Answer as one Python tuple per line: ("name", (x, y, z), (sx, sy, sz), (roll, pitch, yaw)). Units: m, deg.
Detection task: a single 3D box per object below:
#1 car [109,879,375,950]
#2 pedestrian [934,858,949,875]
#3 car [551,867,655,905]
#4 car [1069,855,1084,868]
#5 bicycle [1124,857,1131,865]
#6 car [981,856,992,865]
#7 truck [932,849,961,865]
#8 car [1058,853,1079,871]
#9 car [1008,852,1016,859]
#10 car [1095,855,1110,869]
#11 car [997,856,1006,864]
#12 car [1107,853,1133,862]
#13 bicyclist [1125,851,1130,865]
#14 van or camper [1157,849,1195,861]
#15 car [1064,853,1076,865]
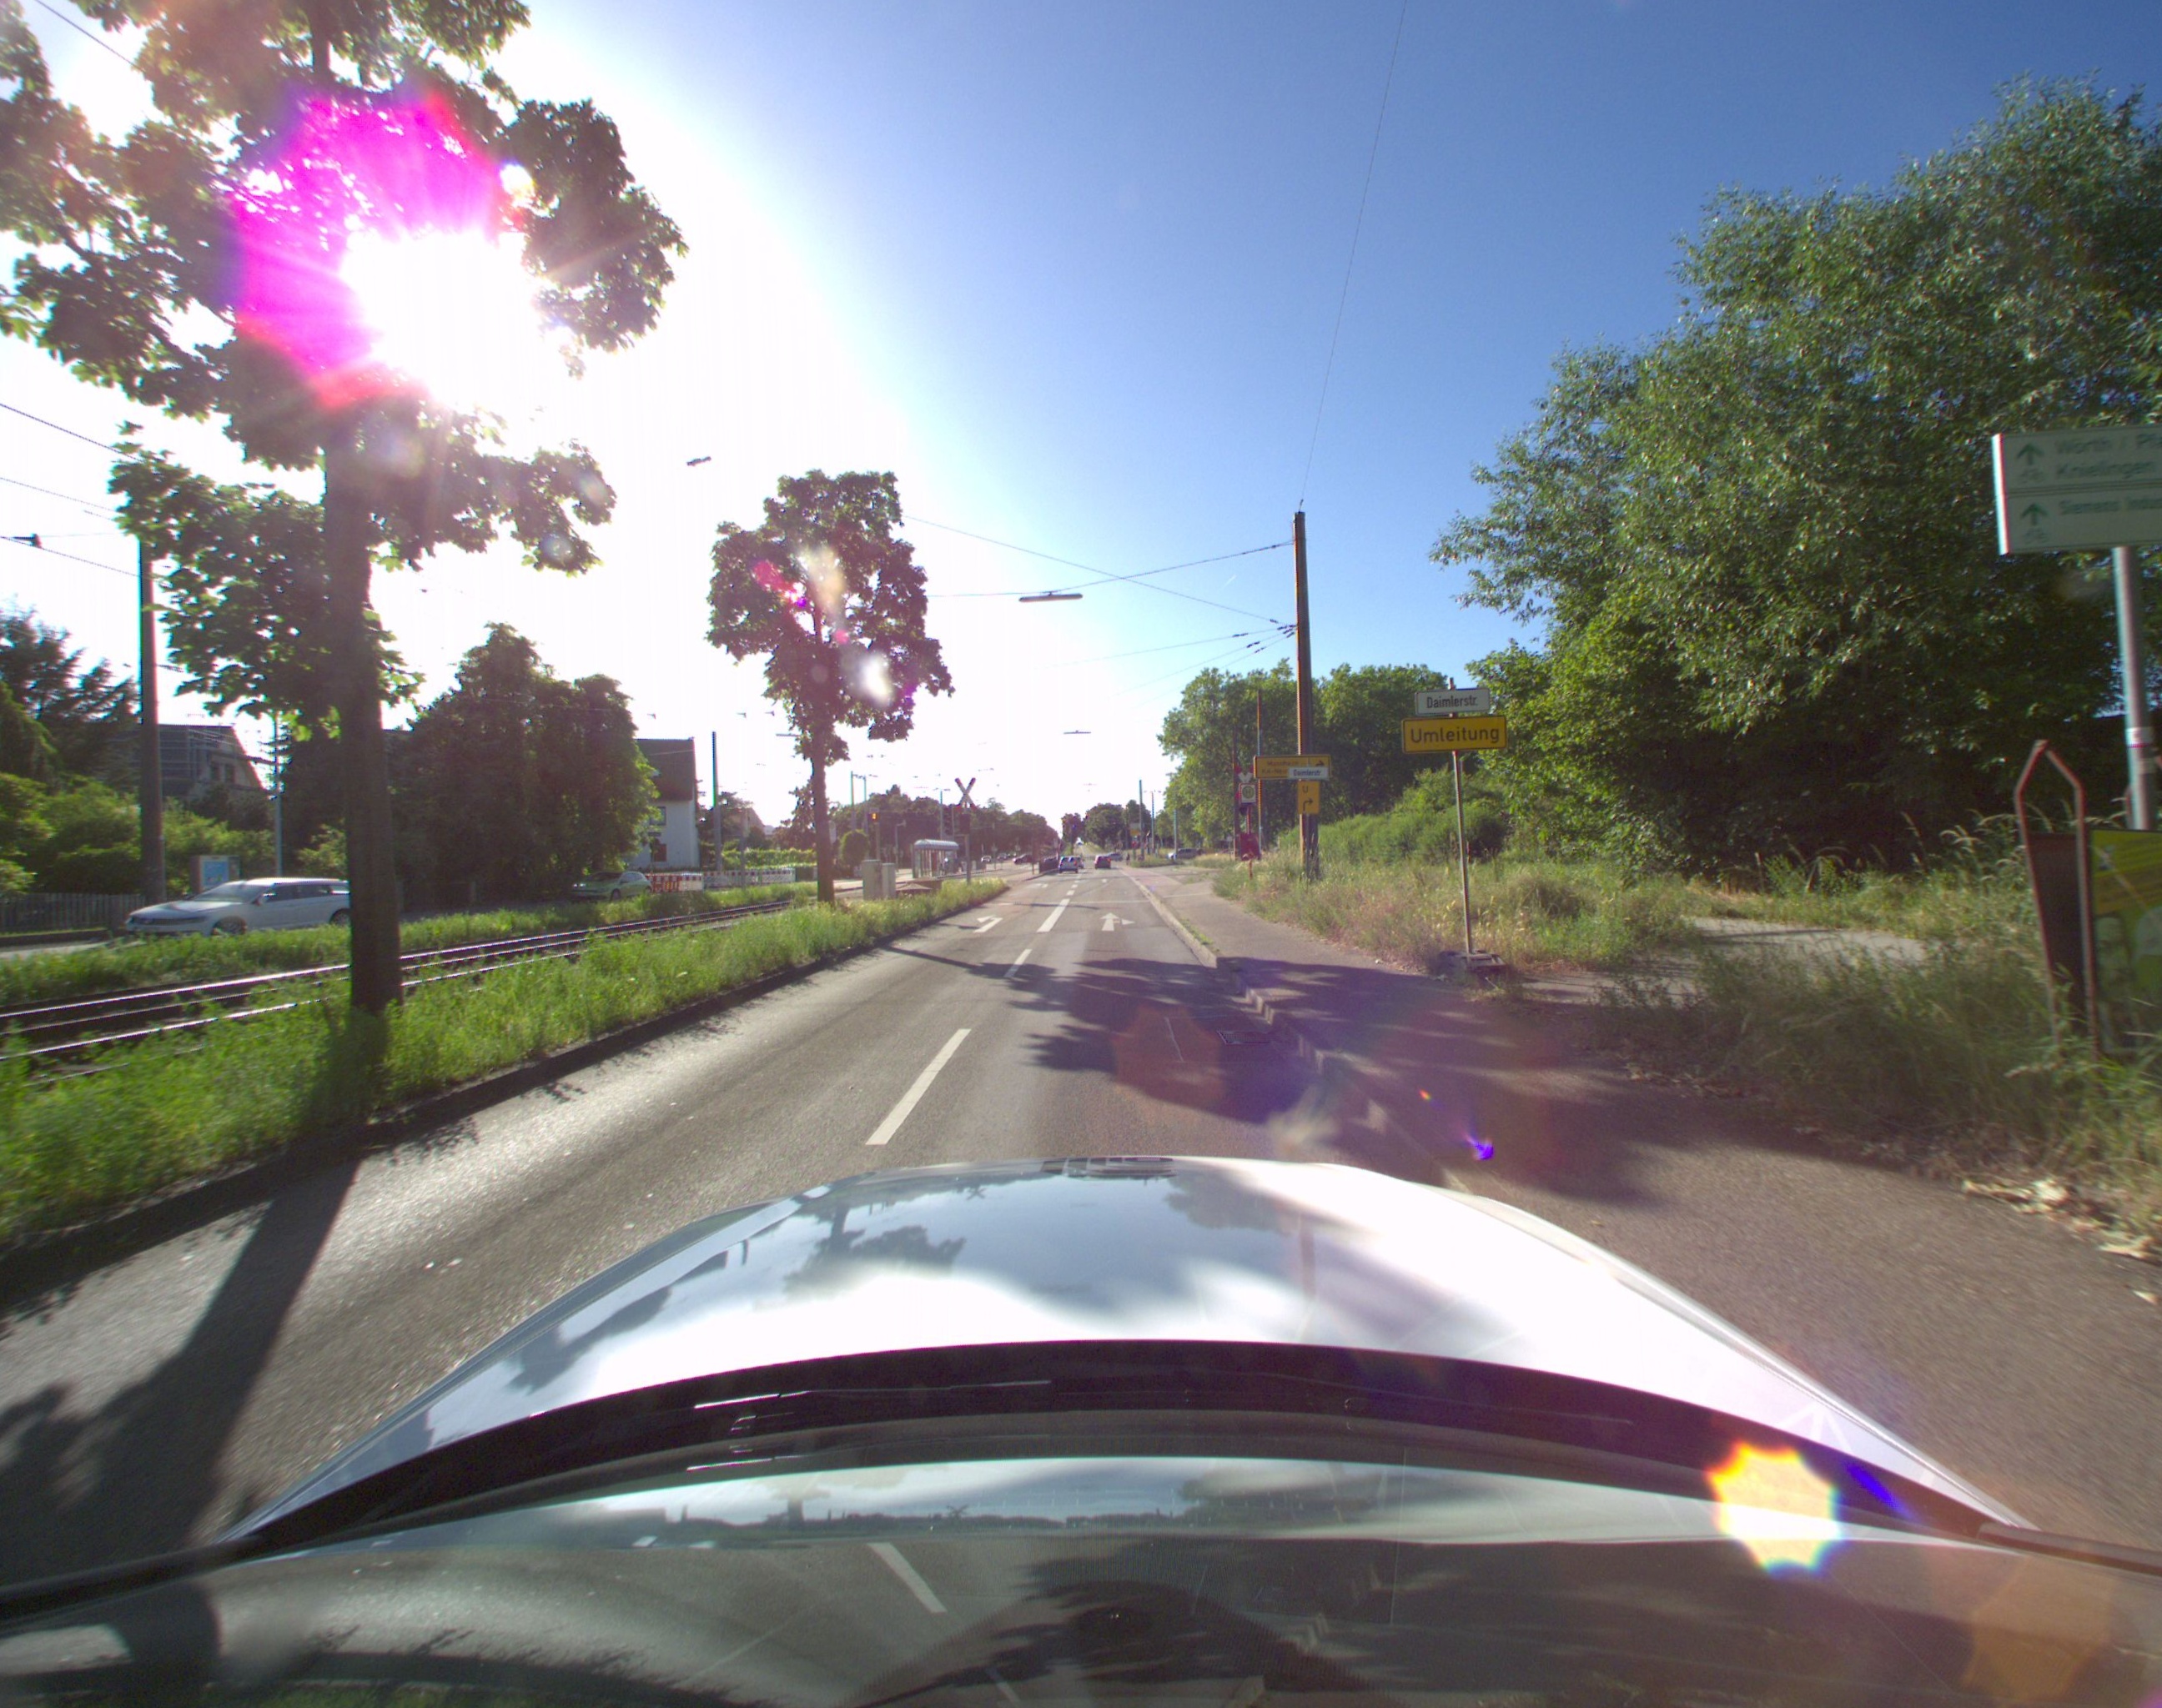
("car", (-20.768, 1.419, 20.527), (1.877, 1.472, 4.614), (0, -1, 0))
("pedestrian", (-12.216, 1.099, 71.192), (1.057, 1.453, 1.007), (-2, -1, 1))
("car", (-20.546, 1.350, 35.234), (1.985, 1.501, 4.071), (0, -1, 2))
("car", (-0.541, 0.875, 95.121), (1.613, 1.457, 4.086), (-1, -1, 1))
("bicycle", (5.899, 0.931, 103.604), (0.719, 0.989, 2.876), (0, -1, 1))
("car", (-16.628, 1.129, 143.077), (1.829, 1.548, 3.993), (-2, 0, -5))
("truck", (-23.355, 0.518, 142.129), (1.977, 2.565, 6.855), (-2, 0, 18))
("car", (-1.026, 0.682, 70.463), (1.613, 1.417, 3.352), (-2, -1, 1))
("car", (-16.402, 0.417, 193.273), (1.991, 1.604, 4.745), (-1, 0, -6))
("car", (2.368, 0.829, 89.677), (1.662, 1.462, 3.587), (-1, 0, 1))
("car", (-16.589, 1.212, 170.397), (1.829, 1.548, 4.277), (-2, 0, -5))
("car", (6.609, 0.544, 137.106), (4.000, 1.473, 1.740), (0, -1, -20))
("bicyclist", (5.896, 0.525, 103.528), (0.663, 1.716, 0.948), (0, -1, 1))
("van or camper", (15.489, 0.185, 133.408), (5.953, 1.828, 1.998), (-1, 0, -3))
("car", (-1.865, 0.855, 140.527), (1.986, 2.014, 4.493), (0, -1, 2))
